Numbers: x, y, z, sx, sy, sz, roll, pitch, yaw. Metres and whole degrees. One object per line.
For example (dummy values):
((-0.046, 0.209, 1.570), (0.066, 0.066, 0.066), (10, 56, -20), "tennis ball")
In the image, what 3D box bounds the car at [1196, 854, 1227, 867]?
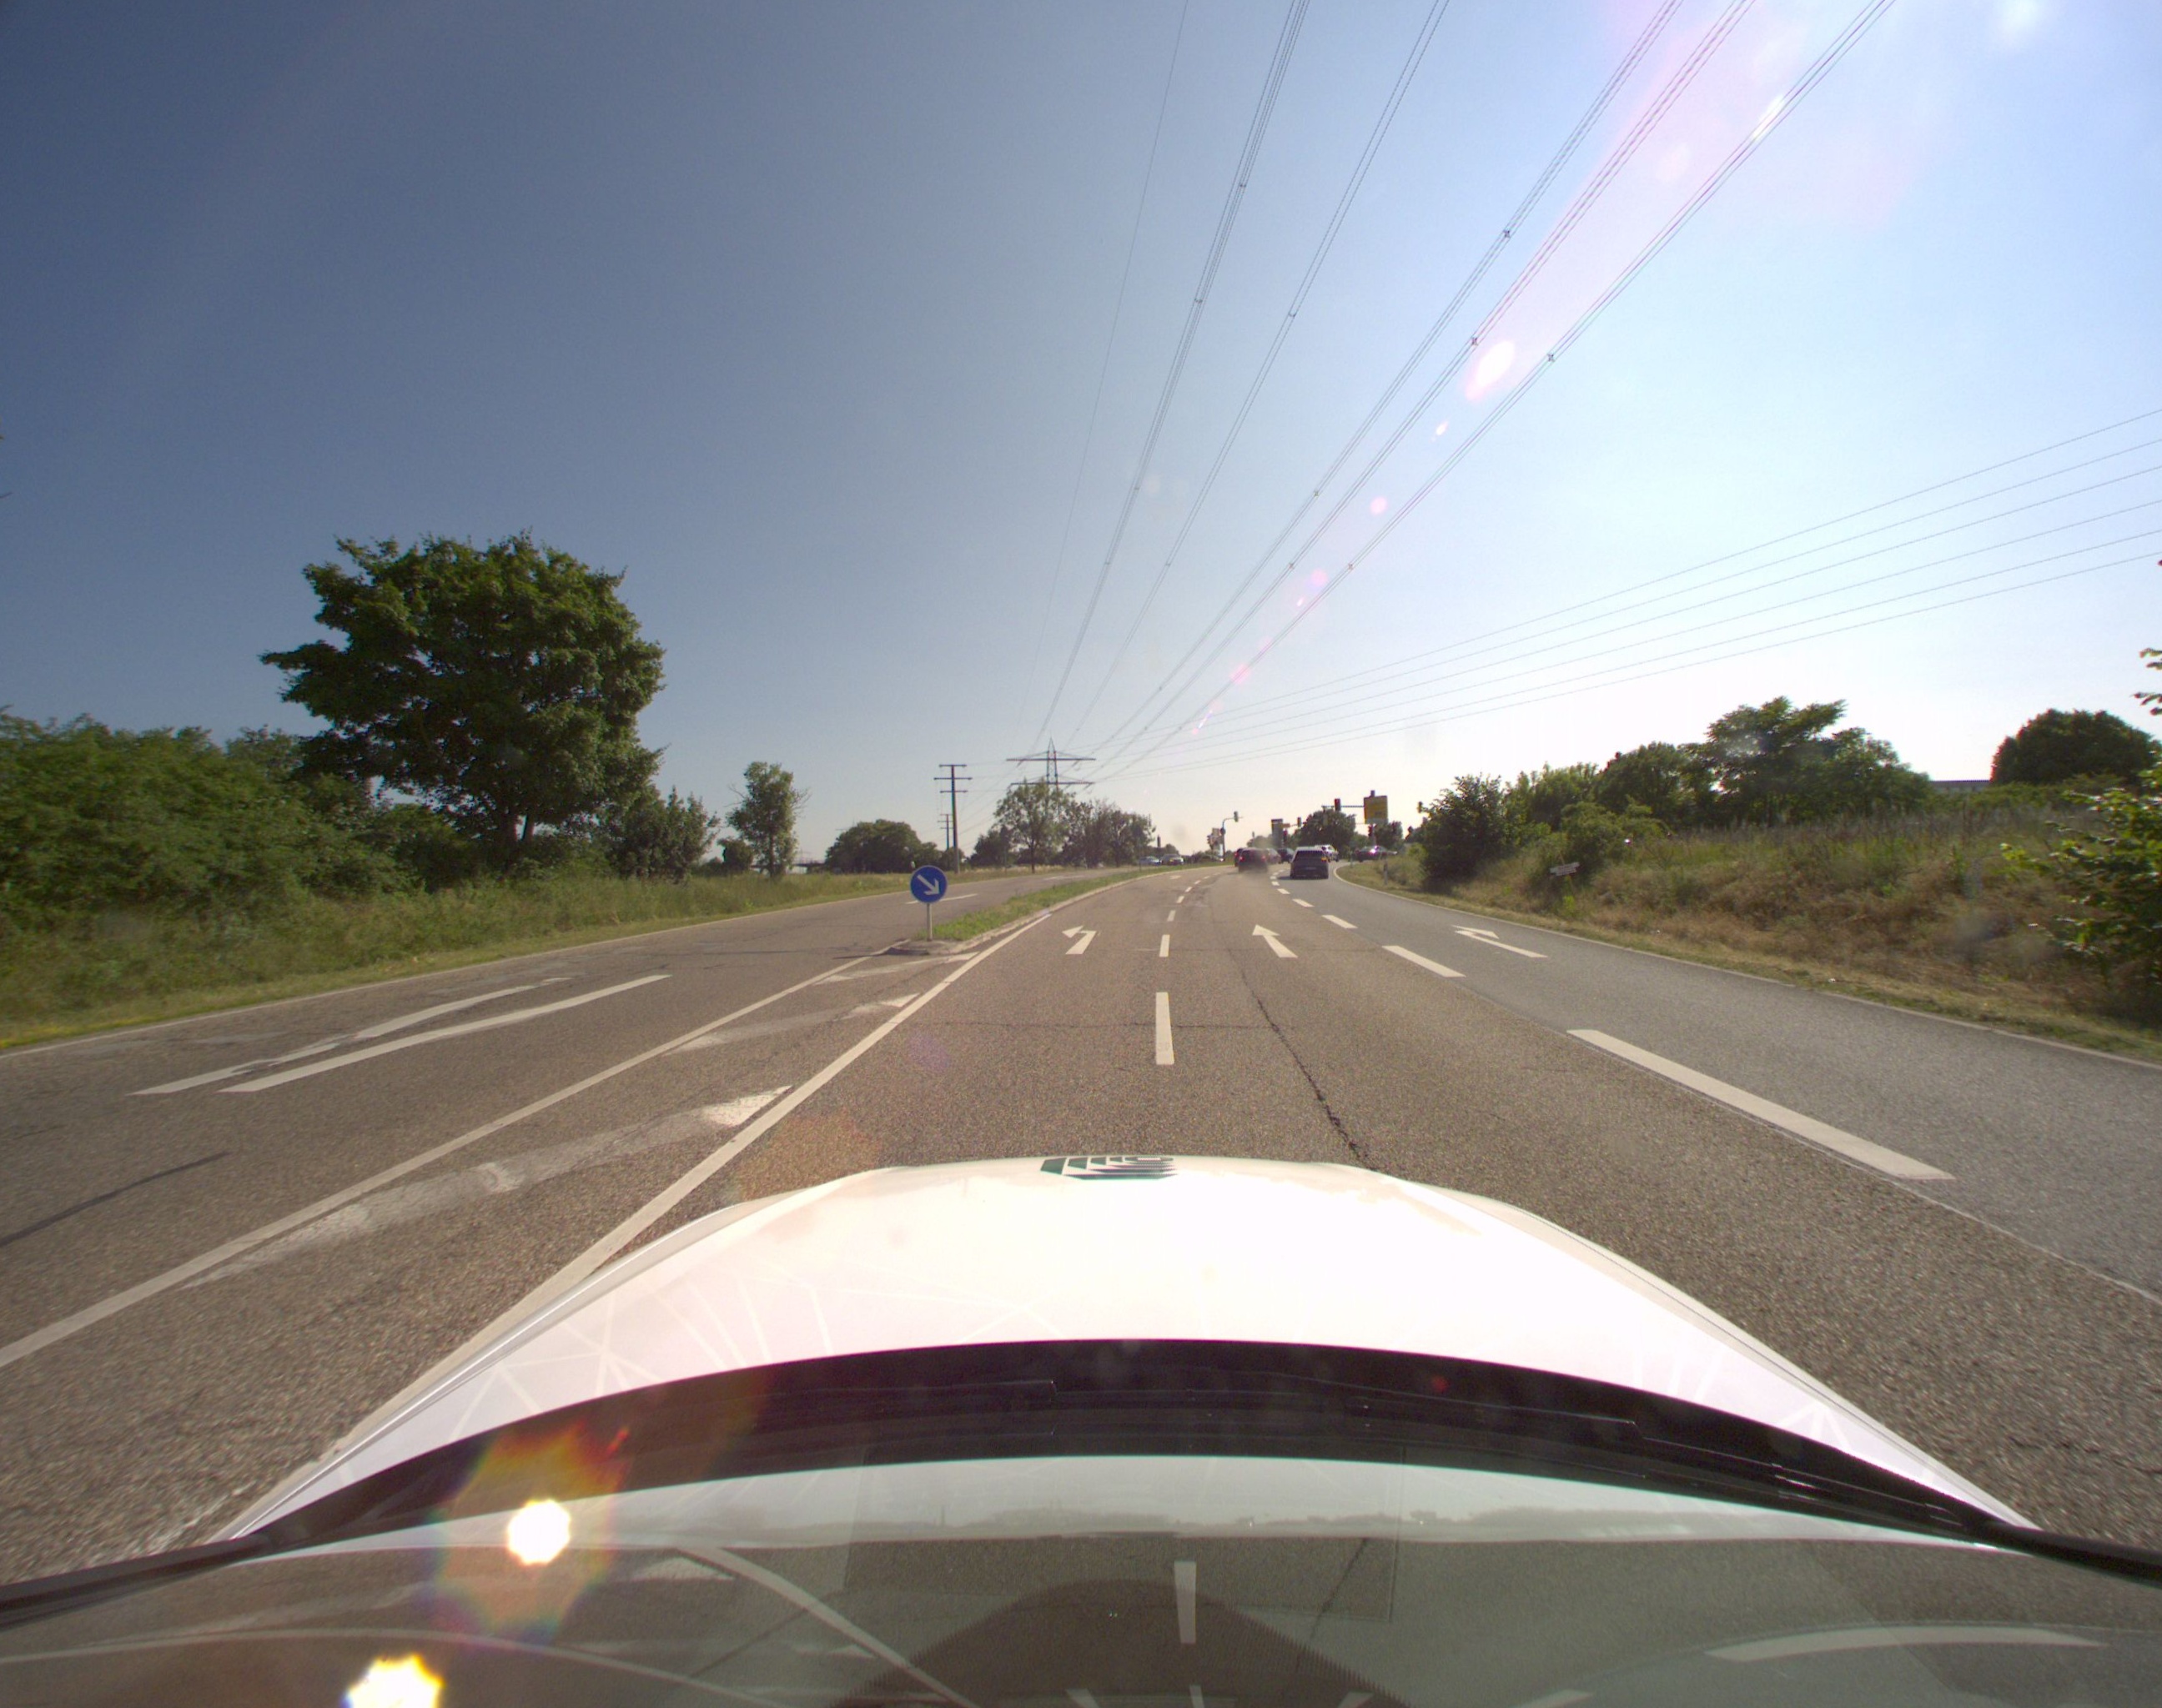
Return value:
((17.832, 0.922, 111.276), (1.829, 1.651, 3.954), (-1, -1, -38), "car")

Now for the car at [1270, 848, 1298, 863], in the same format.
((19.733, 0.143, 79.125), (1.725, 1.484, 3.646), (-1, 0, 29), "car")

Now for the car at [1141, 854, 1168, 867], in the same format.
((9.809, 0.872, 108.700), (1.824, 1.651, 3.965), (-1, -1, -26), "car")

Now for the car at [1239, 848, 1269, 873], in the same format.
((10.405, 0.370, 48.957), (1.621, 1.448, 3.307), (-1, 0, 14), "car")

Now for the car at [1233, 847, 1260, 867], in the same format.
((13.850, 0.213, 67.975), (1.727, 1.569, 3.642), (-1, 0, 20), "car")

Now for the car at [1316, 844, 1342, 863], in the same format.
((23.653, -0.036, 77.659), (1.617, 1.677, 3.773), (-1, 0, 29), "car")

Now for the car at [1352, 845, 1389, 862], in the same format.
((26.342, -0.065, 74.054), (1.626, 1.385, 4.024), (-3, 0, 43), "car")

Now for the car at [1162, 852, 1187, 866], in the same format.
((11.677, 0.676, 101.879), (1.816, 1.651, 3.982), (-2, -1, -13), "car")

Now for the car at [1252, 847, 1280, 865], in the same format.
((16.768, 0.167, 73.700), (1.726, 1.569, 3.645), (-1, 0, 24), "car")

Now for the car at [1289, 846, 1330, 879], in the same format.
((11.304, 0.380, 40.449), (1.761, 1.517, 4.114), (-1, 0, 13), "car")
